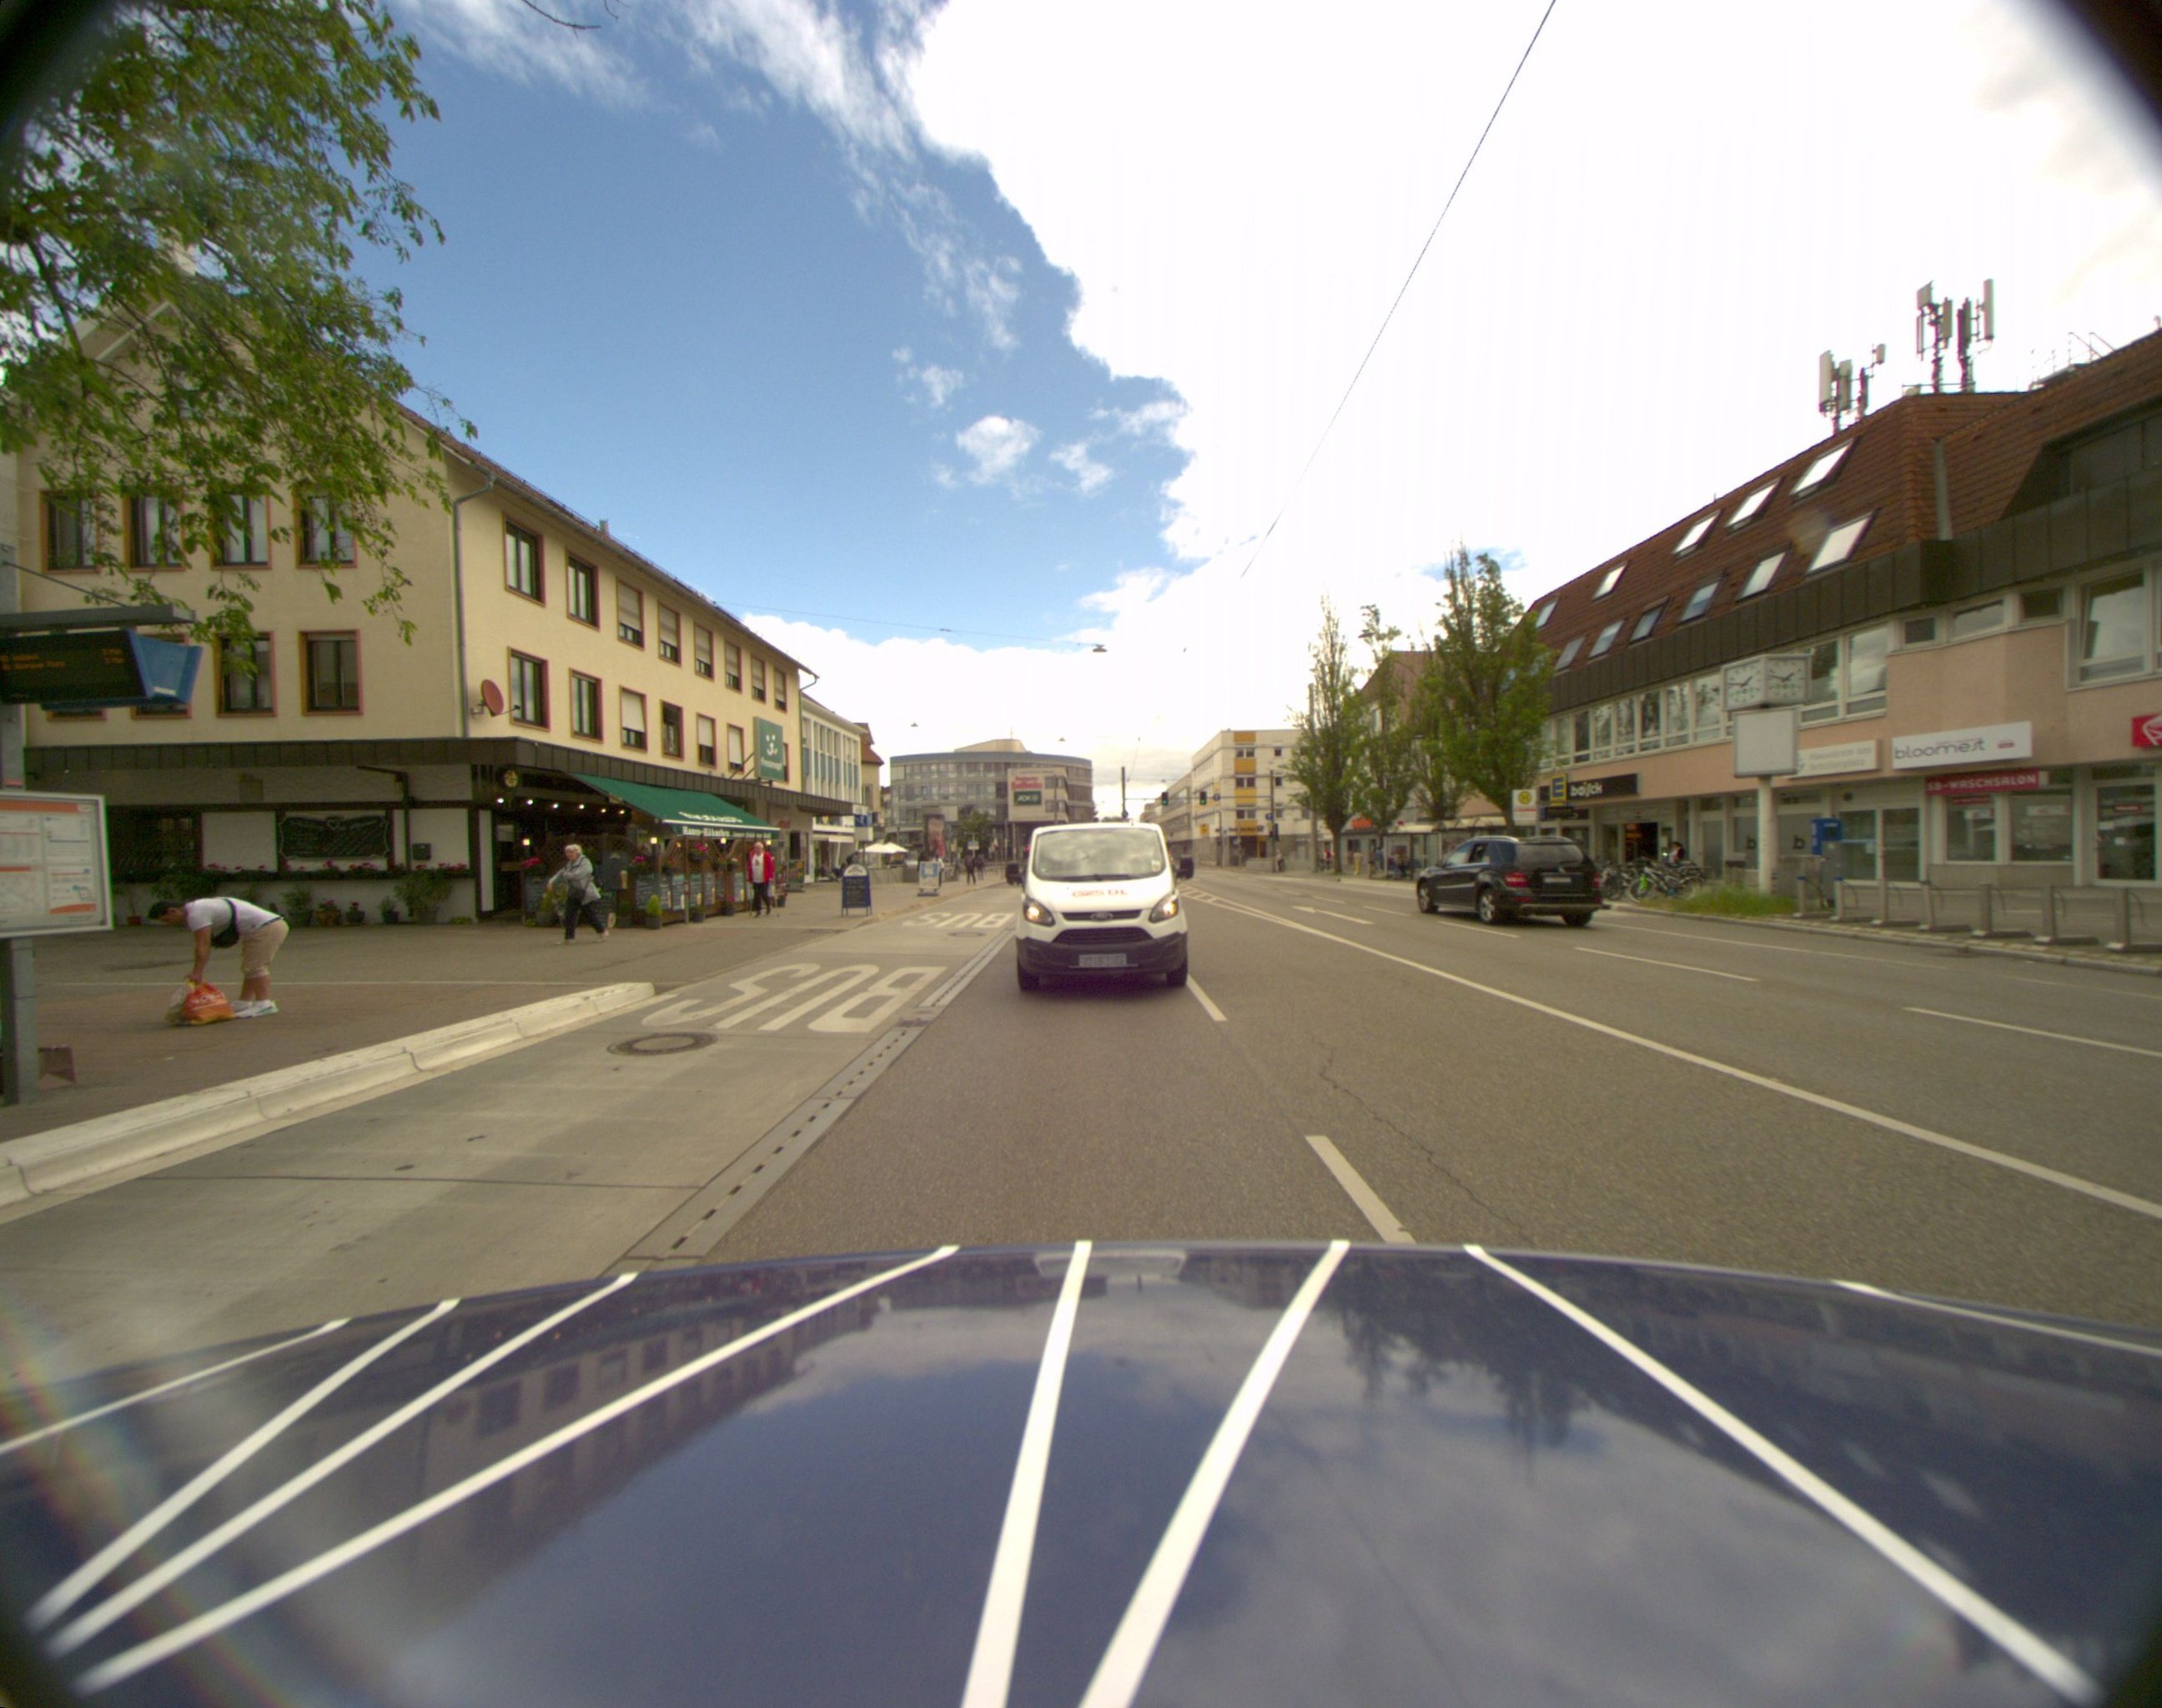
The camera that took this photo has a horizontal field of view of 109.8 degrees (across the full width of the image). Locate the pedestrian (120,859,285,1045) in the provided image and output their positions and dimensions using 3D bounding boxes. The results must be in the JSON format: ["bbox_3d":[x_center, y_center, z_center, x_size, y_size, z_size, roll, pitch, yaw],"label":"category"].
[{"bbox_3d":[-8.217,0.865,7.135,0.614,1.625,0.795,2,1,13],"label":"pedestrian"}]

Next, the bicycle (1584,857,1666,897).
[{"bbox_3d":[15.526,0.642,21.700,2.024,1.084,0.648,-1,1,-9],"label":"bicycle"}]

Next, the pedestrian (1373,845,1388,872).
[{"bbox_3d":[19.413,0.290,49.310,0.587,1.702,0.615,-4,0,-1],"label":"pedestrian"}]

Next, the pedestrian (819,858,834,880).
[{"bbox_3d":[-14.702,0.862,43.919,0.614,1.213,0.588,-4,0,-2],"label":"pedestrian"}]

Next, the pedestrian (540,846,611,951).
[{"bbox_3d":[-8.646,0.745,13.026,0.684,1.732,0.781,1,2,-4],"label":"pedestrian"}]

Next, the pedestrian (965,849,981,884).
[{"bbox_3d":[-5.259,0.613,37.045,0.613,1.668,0.615,-1,1,3],"label":"pedestrian"}]

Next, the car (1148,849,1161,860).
[{"bbox_3d":[13.843,0.164,143.260,1.999,2.002,4.486,-2,0,-1],"label":"car"}]

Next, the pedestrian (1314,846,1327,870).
[{"bbox_3d":[16.761,0.249,53.079,0.587,1.625,0.615,-4,0,-1],"label":"pedestrian"}]

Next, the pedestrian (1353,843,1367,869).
[{"bbox_3d":[18.203,0.145,49.576,0.587,1.625,0.615,-4,0,-1],"label":"pedestrian"}]

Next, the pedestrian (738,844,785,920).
[{"bbox_3d":[-7.494,0.636,17.868,0.797,1.732,0.781,1,2,-5],"label":"pedestrian"}]

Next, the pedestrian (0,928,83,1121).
[{"bbox_3d":[-7.095,1.089,4.808,0.714,1.159,0.588,-2,0,-6],"label":"pedestrian"}]

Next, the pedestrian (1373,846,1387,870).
[{"bbox_3d":[20.099,0.270,51.117,0.587,1.625,0.615,-4,0,-1],"label":"pedestrian"}]

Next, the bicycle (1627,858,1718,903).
[{"bbox_3d":[15.411,0.682,19.799,2.024,1.084,0.648,-1,1,-9],"label":"bicycle"}]

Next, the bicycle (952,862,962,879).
[{"bbox_3d":[-7.273,0.969,44.520,0.274,0.968,1.387,-1,0,2],"label":"bicycle"}]

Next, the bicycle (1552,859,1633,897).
[{"bbox_3d":[15.299,0.710,22.758,2.023,1.084,0.649,-1,1,-4],"label":"bicycle"}]

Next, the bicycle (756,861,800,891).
[{"bbox_3d":[-11.542,0.816,29.020,0.743,1.056,2.351,0,0,-1],"label":"bicycle"}]

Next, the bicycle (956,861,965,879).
[{"bbox_3d":[-7.301,0.947,46.013,0.274,1.047,1.387,-1,0,2],"label":"bicycle"}]

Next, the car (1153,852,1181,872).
[{"bbox_3d":[6.933,0.610,61.393,1.879,1.497,4.343,0,1,2],"label":"car"}]

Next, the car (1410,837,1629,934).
[{"bbox_3d":[8.962,0.559,16.122,2.074,1.728,4.693,1,0,2],"label":"car"}]

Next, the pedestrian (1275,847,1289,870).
[{"bbox_3d":[14.885,0.358,56.293,0.702,1.625,0.614,-4,0,-10],"label":"pedestrian"}]

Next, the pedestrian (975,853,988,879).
[{"bbox_3d":[-6.303,0.762,48.059,0.689,1.625,0.853,-1,0,0],"label":"pedestrian"}]

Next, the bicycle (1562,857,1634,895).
[{"bbox_3d":[16.109,0.671,23.675,2.025,1.084,0.648,-2,1,-13],"label":"bicycle"}]

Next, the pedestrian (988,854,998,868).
[{"bbox_3d":[-10.369,0.795,89.832,0.847,1.625,0.644,-4,0,-33],"label":"pedestrian"}]

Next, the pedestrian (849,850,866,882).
[{"bbox_3d":[-11.748,0.614,39.932,0.668,1.625,0.800,-1,0,-2],"label":"pedestrian"}]

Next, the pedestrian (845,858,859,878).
[{"bbox_3d":[-14.299,0.882,47.409,0.614,1.213,0.588,-4,0,-2],"label":"pedestrian"}]

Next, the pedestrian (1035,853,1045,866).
[{"bbox_3d":[-4.915,0.661,90.913,0.808,1.637,0.886,-2,1,-34],"label":"pedestrian"}]

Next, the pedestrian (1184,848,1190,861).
[{"bbox_3d":[14.613,0.078,104.444,0.587,1.792,0.526,-4,0,1],"label":"pedestrian"}]

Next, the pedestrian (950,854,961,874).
[{"bbox_3d":[-10.728,0.851,64.921,0.589,1.613,0.743,-4,0,-31],"label":"pedestrian"}]

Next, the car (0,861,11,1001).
[{"bbox_3d":[-14.871,0.972,8.086,4.614,1.610,1.881,-2,1,5],"label":"car"}]

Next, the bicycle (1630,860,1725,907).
[{"bbox_3d":[14.838,0.717,18.917,2.024,1.084,0.648,-1,1,-9],"label":"bicycle"}]

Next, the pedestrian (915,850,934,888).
[{"bbox_3d":[-6.874,0.651,33.342,0.720,1.625,0.615,0,1,-2],"label":"pedestrian"}]

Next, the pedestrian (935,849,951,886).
[{"bbox_3d":[-6.047,0.594,33.338,0.614,1.625,0.615,0,1,-2],"label":"pedestrian"}]

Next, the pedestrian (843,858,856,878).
[{"bbox_3d":[-14.257,0.883,46.779,0.614,1.213,0.588,0,0,-2],"label":"pedestrian"}]

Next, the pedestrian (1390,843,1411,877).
[{"bbox_3d":[16.096,0.304,38.315,0.588,1.642,0.713,-2,0,-17],"label":"pedestrian"}]

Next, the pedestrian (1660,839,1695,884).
[{"bbox_3d":[20.779,0.261,26.479,0.713,1.538,0.588,-2,0,0],"label":"pedestrian"}]

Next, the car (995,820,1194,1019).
[{"bbox_3d":[0.304,0.678,10.339,1.998,2.002,5.000,-2,0,4],"label":"car"}]

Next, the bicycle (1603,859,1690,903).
[{"bbox_3d":[15.239,0.714,20.497,2.024,1.084,0.648,-1,1,-9],"label":"bicycle"}]

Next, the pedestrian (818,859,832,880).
[{"bbox_3d":[-15.021,0.893,44.627,0.614,1.213,0.588,-2,0,-2],"label":"pedestrian"}]
